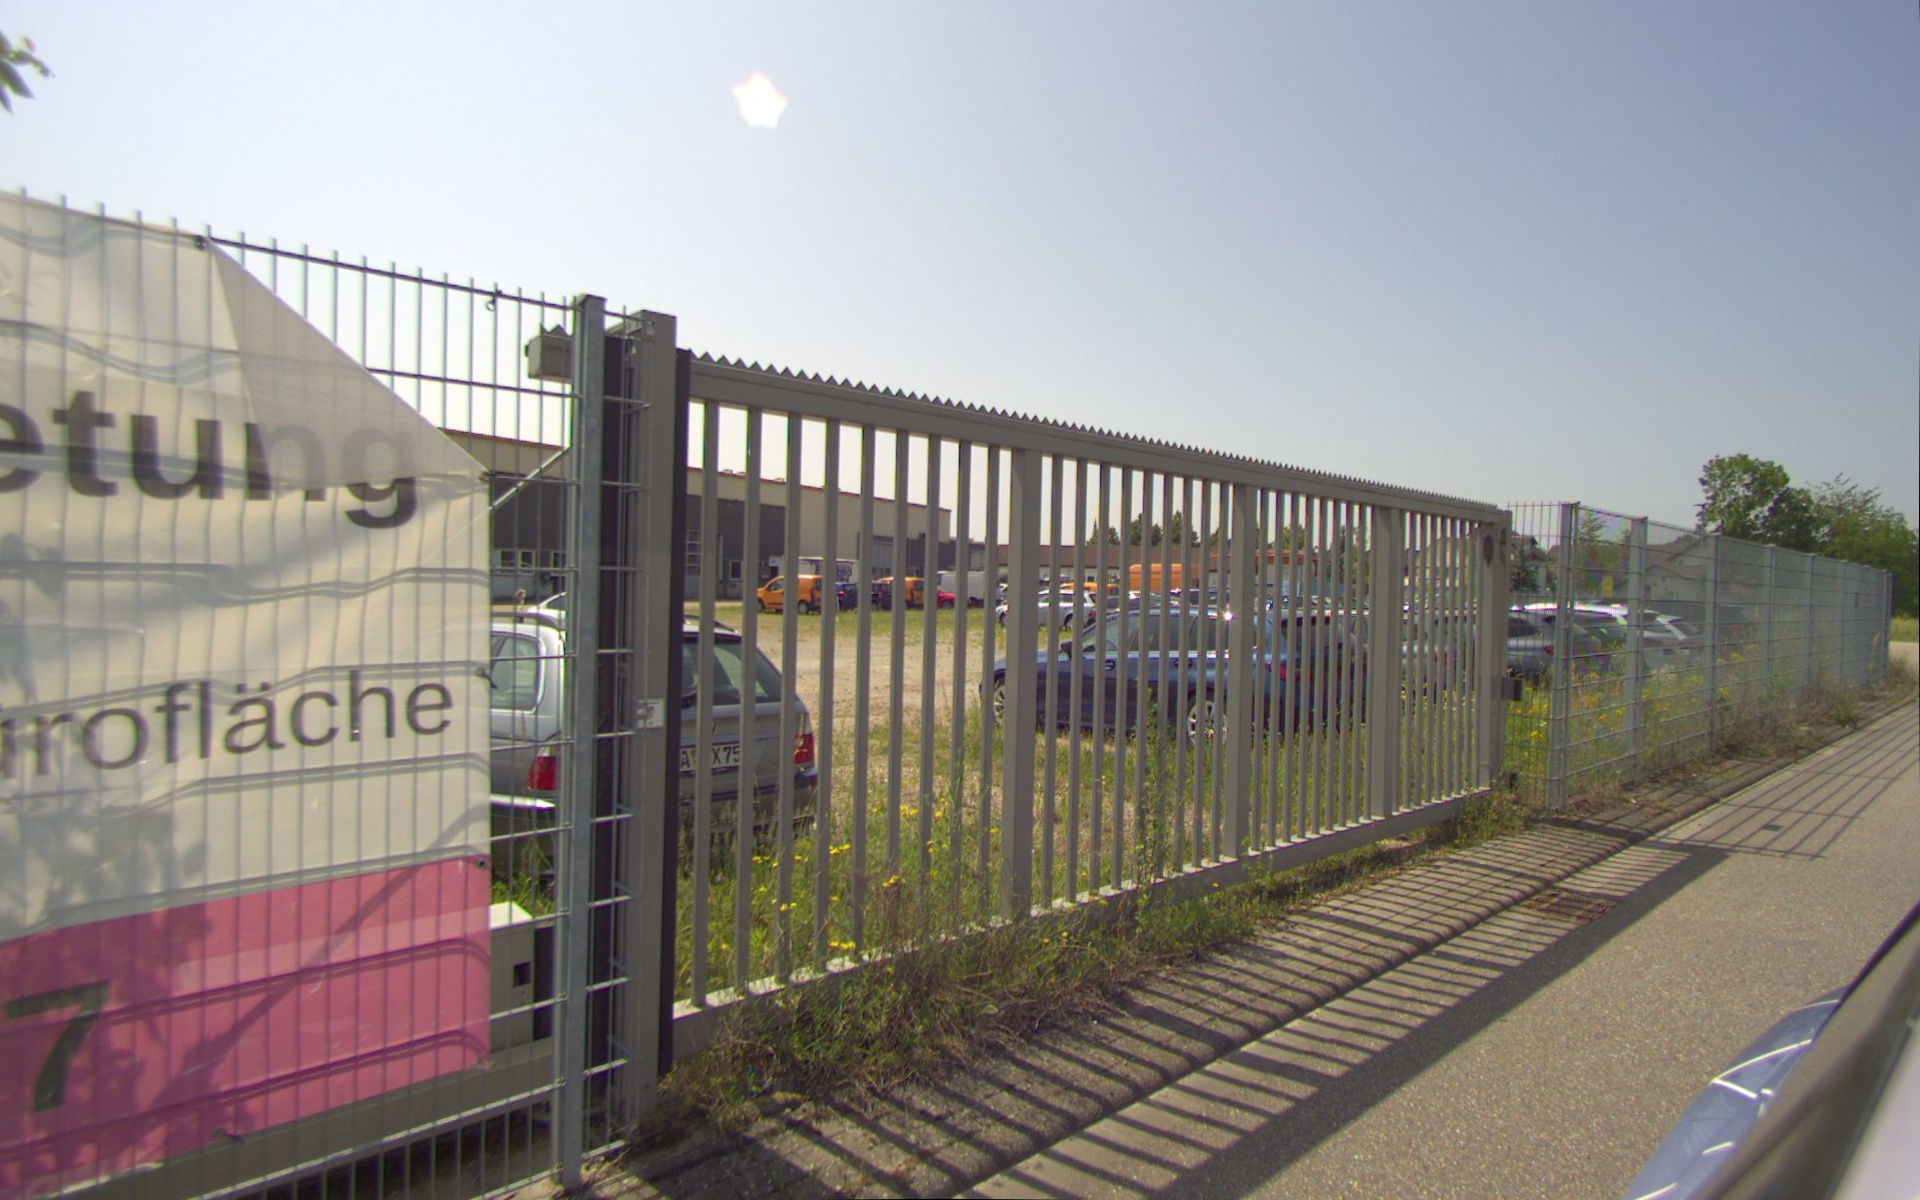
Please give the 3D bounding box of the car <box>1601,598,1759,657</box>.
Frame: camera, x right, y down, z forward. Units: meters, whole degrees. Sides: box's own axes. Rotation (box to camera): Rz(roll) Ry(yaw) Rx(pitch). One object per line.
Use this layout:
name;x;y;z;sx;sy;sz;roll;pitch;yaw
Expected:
car;23.671;0.854;33.472;4.104;1.690;1.703;3;1;32

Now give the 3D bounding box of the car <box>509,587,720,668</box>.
car;-6.885;0.466;19.950;4.494;1.368;1.606;2;1;35

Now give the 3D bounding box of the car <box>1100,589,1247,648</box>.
car;6.041;0.492;28.739;3.748;1.455;1.592;3;1;34

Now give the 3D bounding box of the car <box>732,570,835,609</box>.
car;-7.775;-0.462;44.493;4.355;1.504;1.733;3;1;31

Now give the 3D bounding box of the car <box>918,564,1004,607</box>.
car;0.045;-0.819;55.870;4.355;2.199;1.952;3;1;31

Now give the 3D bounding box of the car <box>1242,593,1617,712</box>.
car;6.502;0.657;14.438;1.808;1.424;4.513;0;-1;-43

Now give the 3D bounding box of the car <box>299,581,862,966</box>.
car;-2.517;0.711;6.008;1.611;1.493;4.165;0;-1;-44

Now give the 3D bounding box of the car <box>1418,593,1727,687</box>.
car;10.475;0.643;17.597;1.804;1.424;4.221;0;-1;-37

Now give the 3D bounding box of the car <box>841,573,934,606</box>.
car;-3.705;-0.533;51.477;4.355;1.504;1.952;3;1;31

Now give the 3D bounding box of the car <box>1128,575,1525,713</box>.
car;4.363;0.490;12.732;1.608;1.424;4.518;0;-1;-39

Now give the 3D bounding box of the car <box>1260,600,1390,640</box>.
car;15.017;0.775;41.727;4.727;1.368;1.799;3;1;34

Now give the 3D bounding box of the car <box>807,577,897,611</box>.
car;-5.258;-0.306;49.163;3.970;1.482;1.977;2;1;33

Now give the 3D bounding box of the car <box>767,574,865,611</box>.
car;-6.686;-0.361;46.740;4.355;1.504;1.733;3;1;31

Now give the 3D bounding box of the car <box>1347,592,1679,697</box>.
car;8.546;0.635;15.979;1.804;1.424;4.221;0;-1;-37

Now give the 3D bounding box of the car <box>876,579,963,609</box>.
car;-2.167;-0.323;53.657;4.360;1.395;1.820;3;1;34

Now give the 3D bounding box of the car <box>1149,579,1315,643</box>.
car;8.153;0.302;30.568;4.453;1.669;1.852;3;1;38

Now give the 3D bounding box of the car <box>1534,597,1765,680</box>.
car;16.399;0.844;24.225;1.735;1.657;4.285;2;1;-44

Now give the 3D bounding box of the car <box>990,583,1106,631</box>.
car;3.083;0.233;35.714;3.803;1.480;1.570;3;1;34

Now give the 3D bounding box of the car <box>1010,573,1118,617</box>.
car;3.959;-0.209;38.681;3.803;1.480;1.570;3;1;34

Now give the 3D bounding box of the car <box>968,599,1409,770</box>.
car;2.175;0.704;10.802;1.736;1.424;4.519;0;0;-39

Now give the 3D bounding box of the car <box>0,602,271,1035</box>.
car;-4.526;0.742;4.709;1.711;1.371;3.668;0;1;-42

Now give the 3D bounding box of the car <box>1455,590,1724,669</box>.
car;12.542;0.570;20.410;1.804;1.424;4.221;0;-1;-37

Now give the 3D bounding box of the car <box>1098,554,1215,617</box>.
car;8.800;-0.662;45.499;4.714;2.617;1.956;3;1;34
